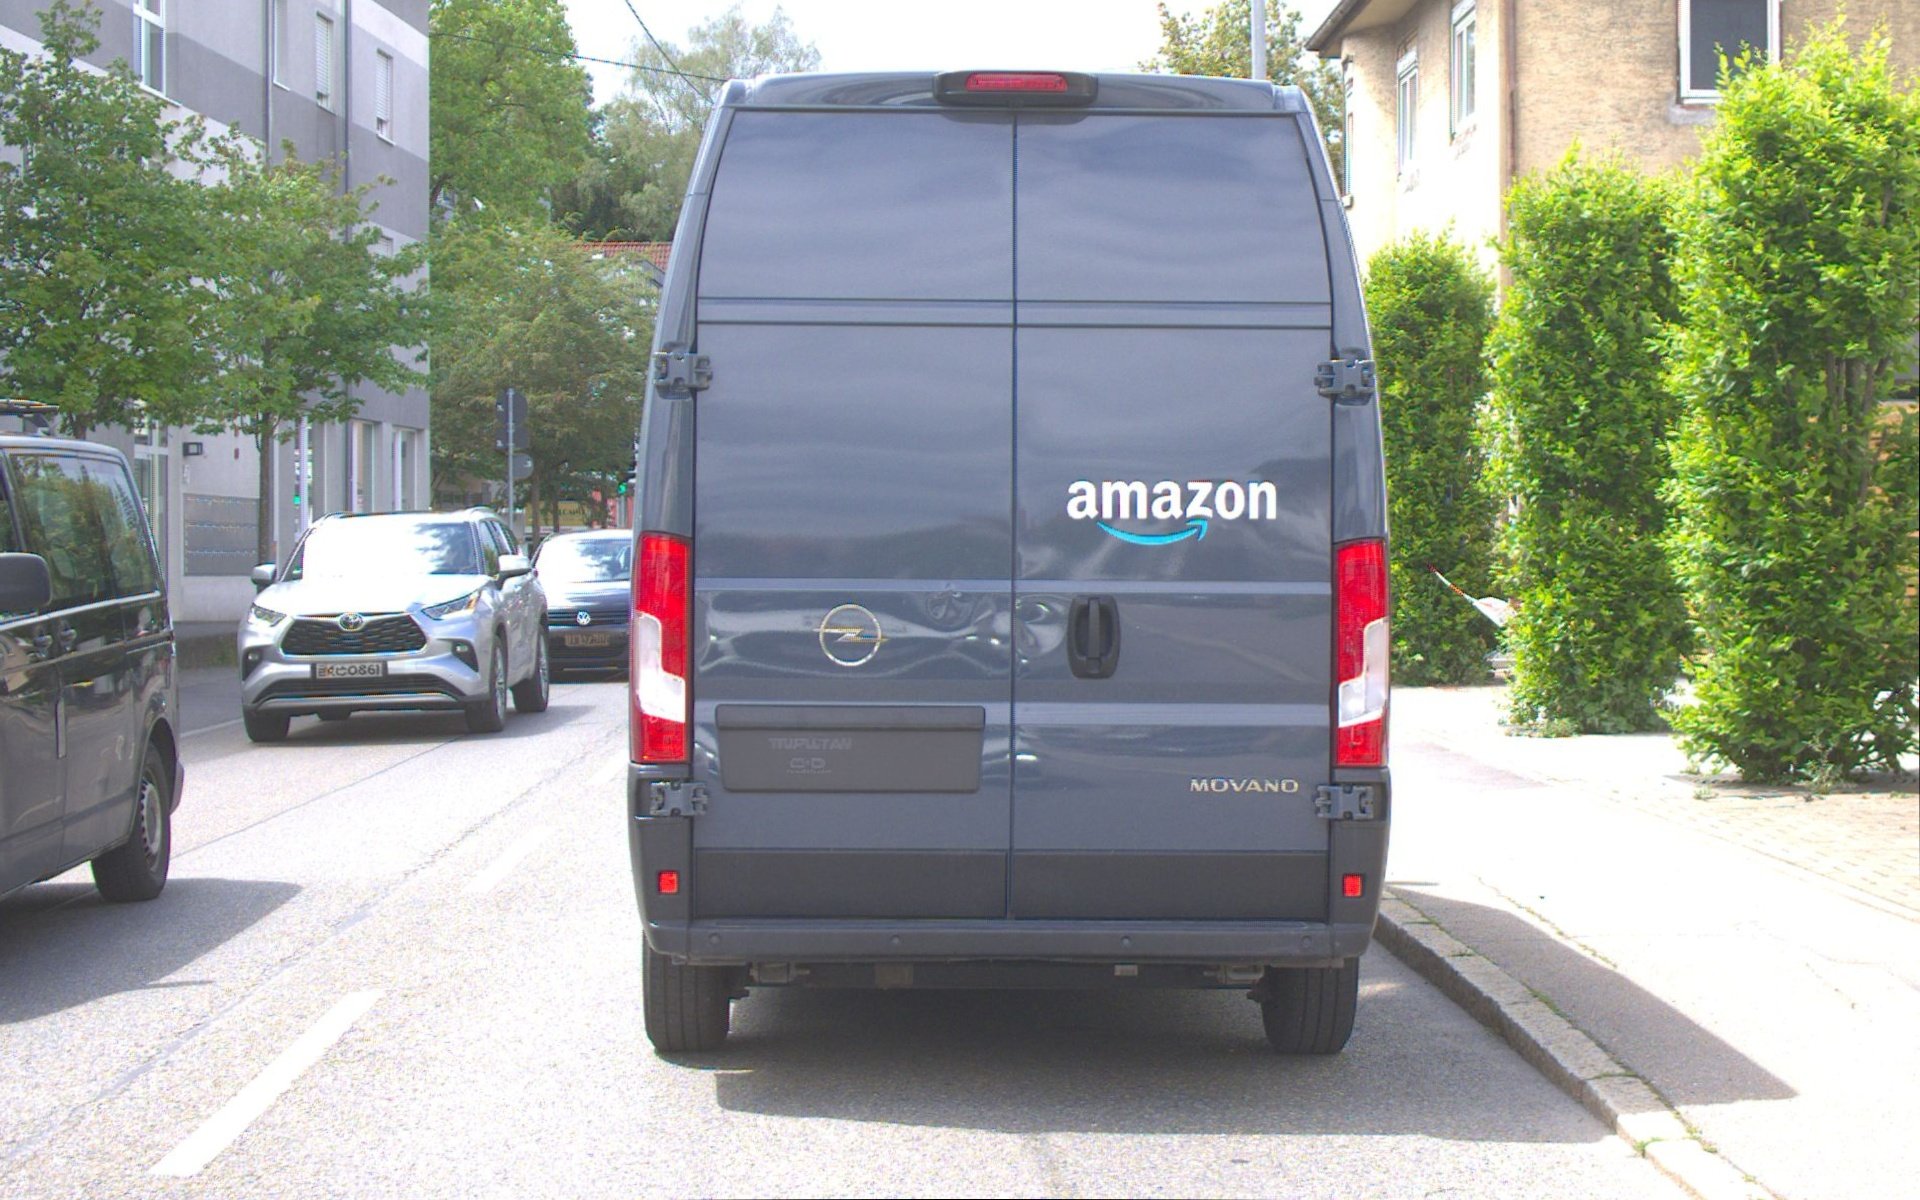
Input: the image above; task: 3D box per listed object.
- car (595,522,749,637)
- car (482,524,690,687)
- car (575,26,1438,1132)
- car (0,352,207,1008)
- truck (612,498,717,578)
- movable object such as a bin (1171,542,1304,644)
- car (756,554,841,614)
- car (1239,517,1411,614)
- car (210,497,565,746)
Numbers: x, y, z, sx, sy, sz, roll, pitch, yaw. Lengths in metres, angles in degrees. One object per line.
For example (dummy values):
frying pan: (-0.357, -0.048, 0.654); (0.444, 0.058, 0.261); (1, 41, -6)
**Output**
car: (-4.210, -0.335, 50.905); (1.897, 1.554, 4.801); (-2, 1, -1)
car: (-3.903, 0.016, 36.466); (1.832, 1.579, 4.038); (-2, 1, -2)
car: (-0.013, -0.103, 11.758); (2.147, 2.761, 6.250); (0, 1, -2)
car: (-4.258, 0.246, 12.511); (2.111, 2.144, 4.884); (-1, 1, -2)
truck: (-9.025, -1.881, 105.622); (2.225, 2.372, 6.325); (1, 1, 4)
movable object such as a bin: (3.505, -0.099, 43.462); (1.182, 1.261, 1.210); (0, 1, -30)
car: (-4.058, -0.416, 86.714); (1.874, 1.419, 4.115); (1, 1, 1)
car: (6.583, -0.636, 61.643); (1.754, 1.512, 4.074); (-3, 1, 25)
car: (-4.432, 0.118, 27.358); (1.986, 1.731, 4.796); (-2, 1, 0)
